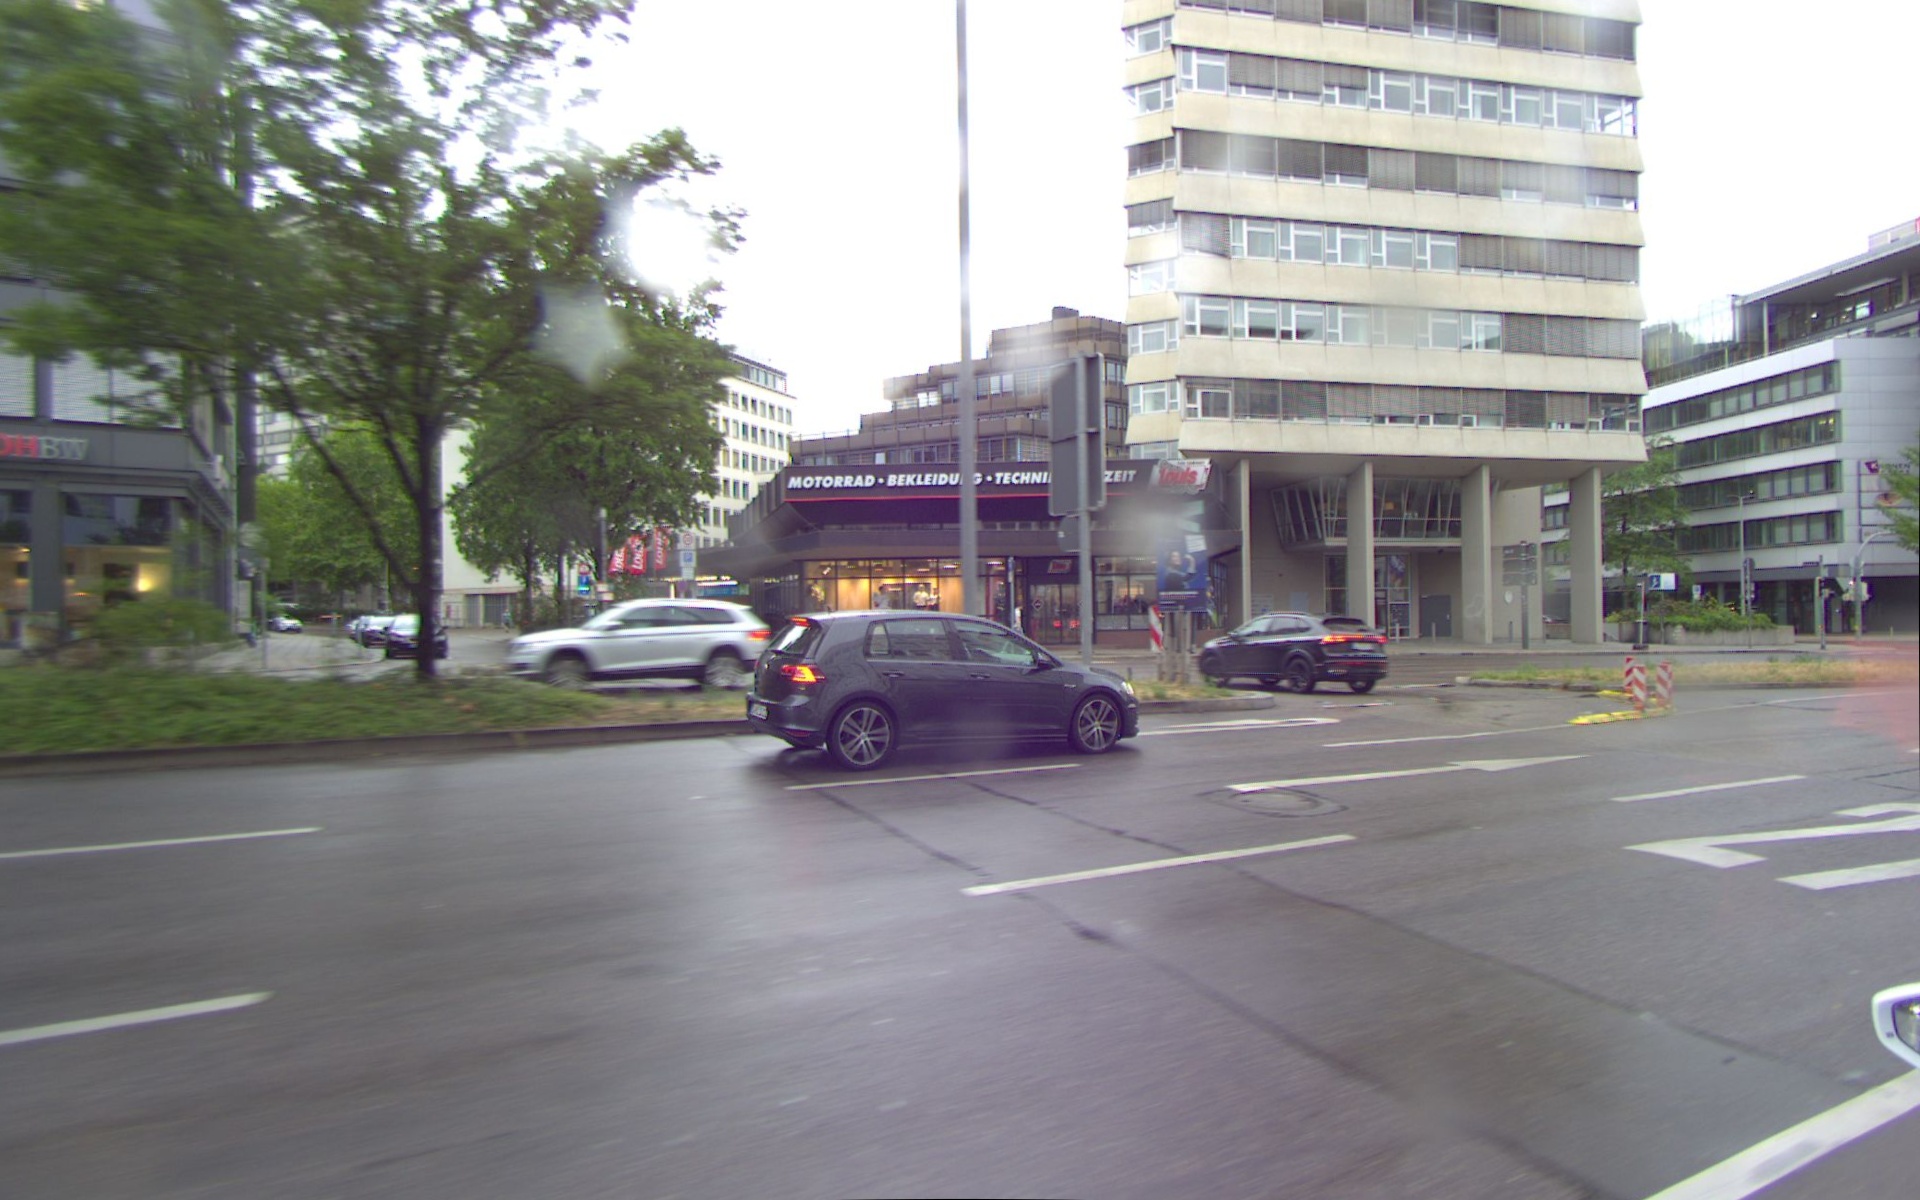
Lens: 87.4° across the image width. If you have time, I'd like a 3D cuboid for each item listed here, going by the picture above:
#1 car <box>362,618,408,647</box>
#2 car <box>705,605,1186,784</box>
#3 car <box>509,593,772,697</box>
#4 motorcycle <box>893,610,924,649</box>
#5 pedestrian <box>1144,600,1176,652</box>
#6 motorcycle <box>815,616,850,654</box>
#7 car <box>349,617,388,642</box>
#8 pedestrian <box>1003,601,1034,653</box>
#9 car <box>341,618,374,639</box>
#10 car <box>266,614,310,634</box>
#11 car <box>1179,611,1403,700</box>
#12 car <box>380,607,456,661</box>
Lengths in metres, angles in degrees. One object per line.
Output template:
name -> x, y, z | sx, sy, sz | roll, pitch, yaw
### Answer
car -> -28.885, 1.623, 50.419 | 1.827, 1.305, 3.964 | 1, 0, -33
car -> -0.084, 0.805, 10.302 | 4.629, 1.470, 1.832 | 0, 0, -28
car -> -5.904, 0.785, 18.687 | 4.438, 1.751, 1.730 | 1, 0, -28
motorcycle -> -1.936, 1.107, 38.110 | 0.788, 1.392, 2.894 | 1, 0, 4
pedestrian -> 7.299, 0.937, 36.599 | 0.909, 1.857, 0.728 | 1, -1, -13
motorcycle -> -4.869, 1.311, 38.469 | 0.709, 1.351, 2.822 | 1, 0, 6
car -> -35.185, 1.741, 59.683 | 1.827, 1.305, 3.964 | 1, 0, -33
pedestrian -> 2.100, 0.982, 36.254 | 0.909, 1.857, 0.818 | 1, 0, -12
car -> -41.656, 1.982, 69.445 | 1.827, 1.305, 3.964 | 1, 0, -33
car -> -55.861, 1.980, 83.484 | 3.936, 1.472, 1.803 | 1, 0, 37
car -> 6.426, 1.007, 20.101 | 1.969, 1.564, 4.464 | 1, -1, -19
car -> -18.311, 1.097, 33.847 | 1.978, 1.662, 3.964 | 1, 0, -32
